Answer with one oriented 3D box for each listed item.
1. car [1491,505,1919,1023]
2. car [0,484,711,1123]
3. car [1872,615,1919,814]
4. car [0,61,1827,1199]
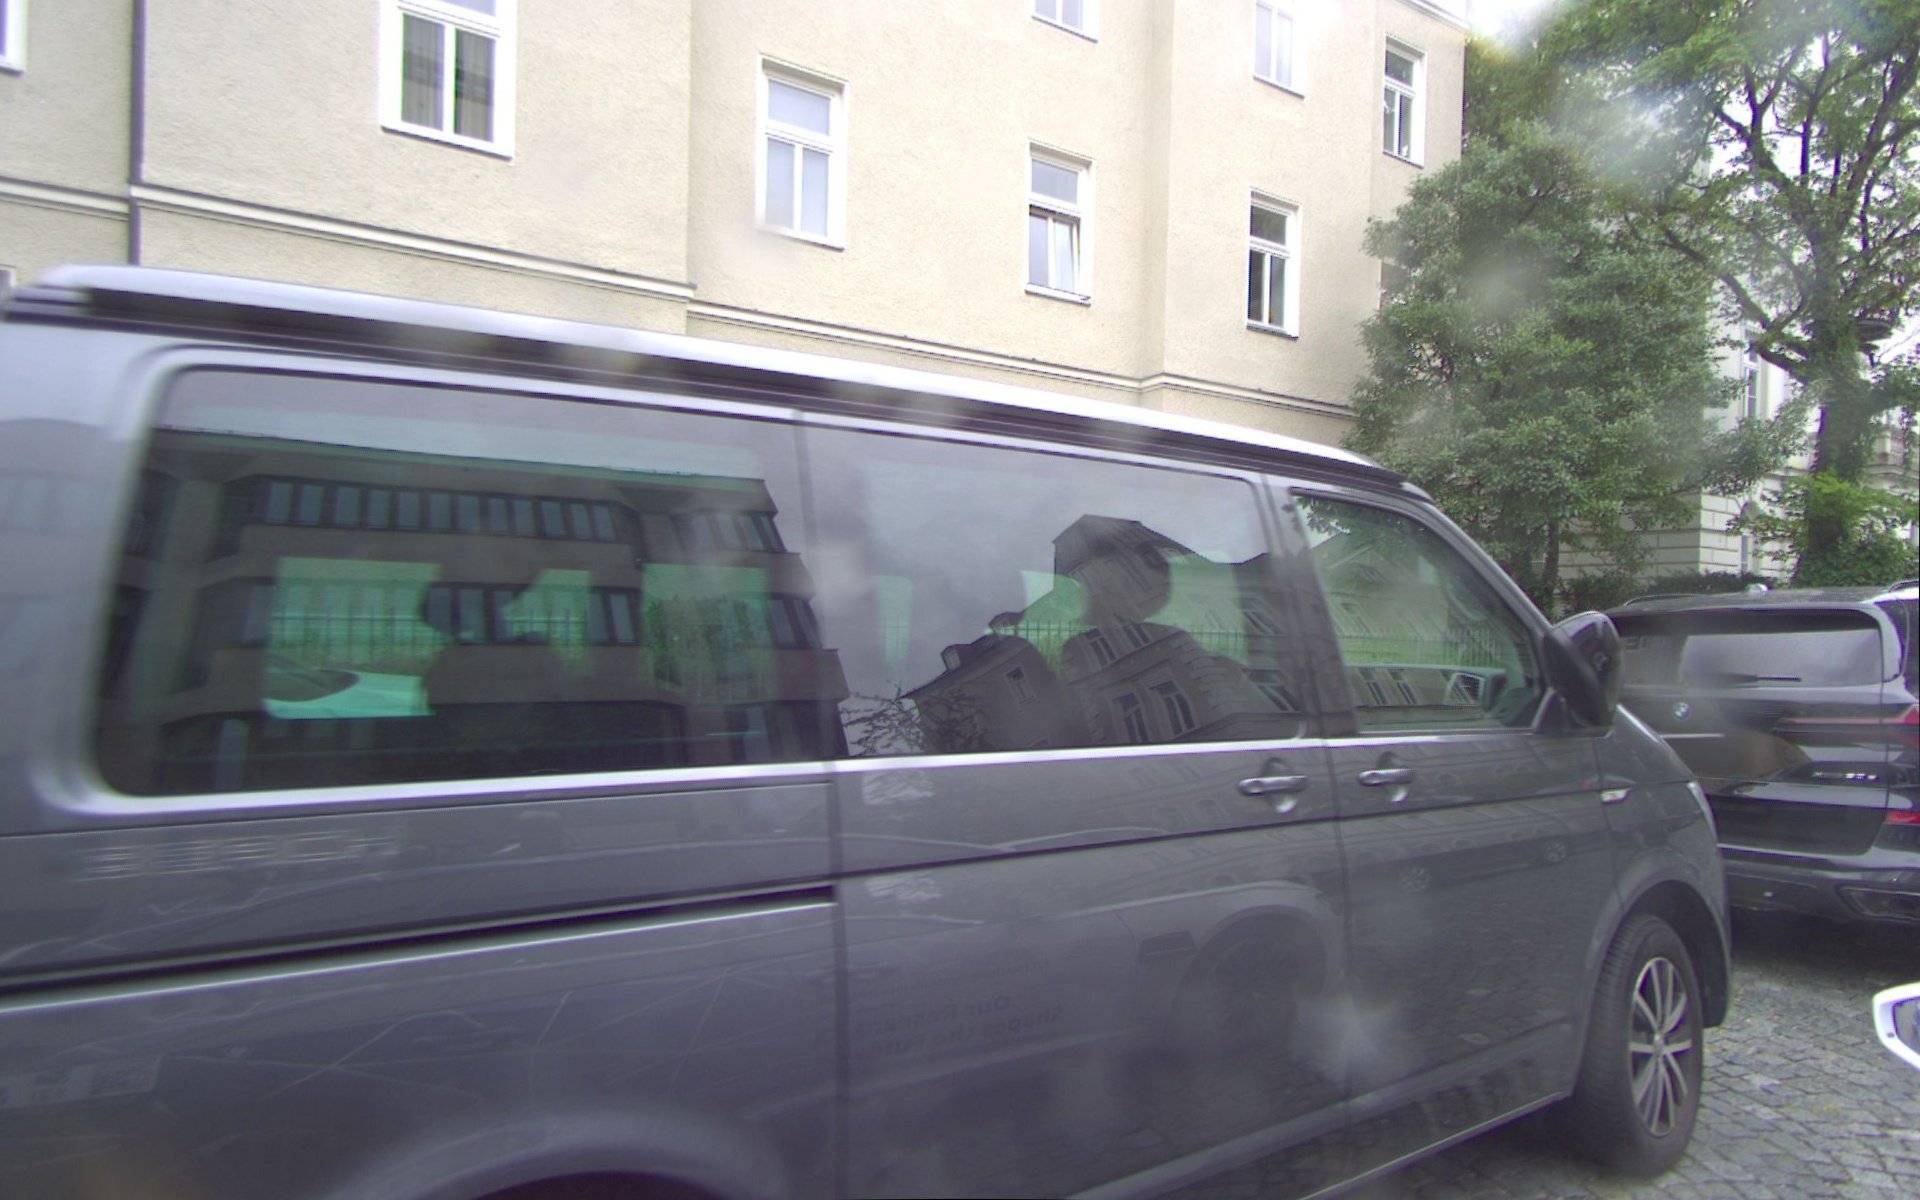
[{"bbox_3d":[5.464,0.710,5.680,5.118,1.942,1.983,2,-4,-31],"label":"car"},{"bbox_3d":[-3.409,0.503,3.379,4.604,1.758,1.934,2,2,-31],"label":"car"},{"bbox_3d":[10.114,0.948,8.592,4.957,1.581,1.970,1,-2,-29],"label":"car"},{"bbox_3d":[0.242,0.520,2.771,4.772,1.942,1.864,2,-3,-31],"label":"car"}]
